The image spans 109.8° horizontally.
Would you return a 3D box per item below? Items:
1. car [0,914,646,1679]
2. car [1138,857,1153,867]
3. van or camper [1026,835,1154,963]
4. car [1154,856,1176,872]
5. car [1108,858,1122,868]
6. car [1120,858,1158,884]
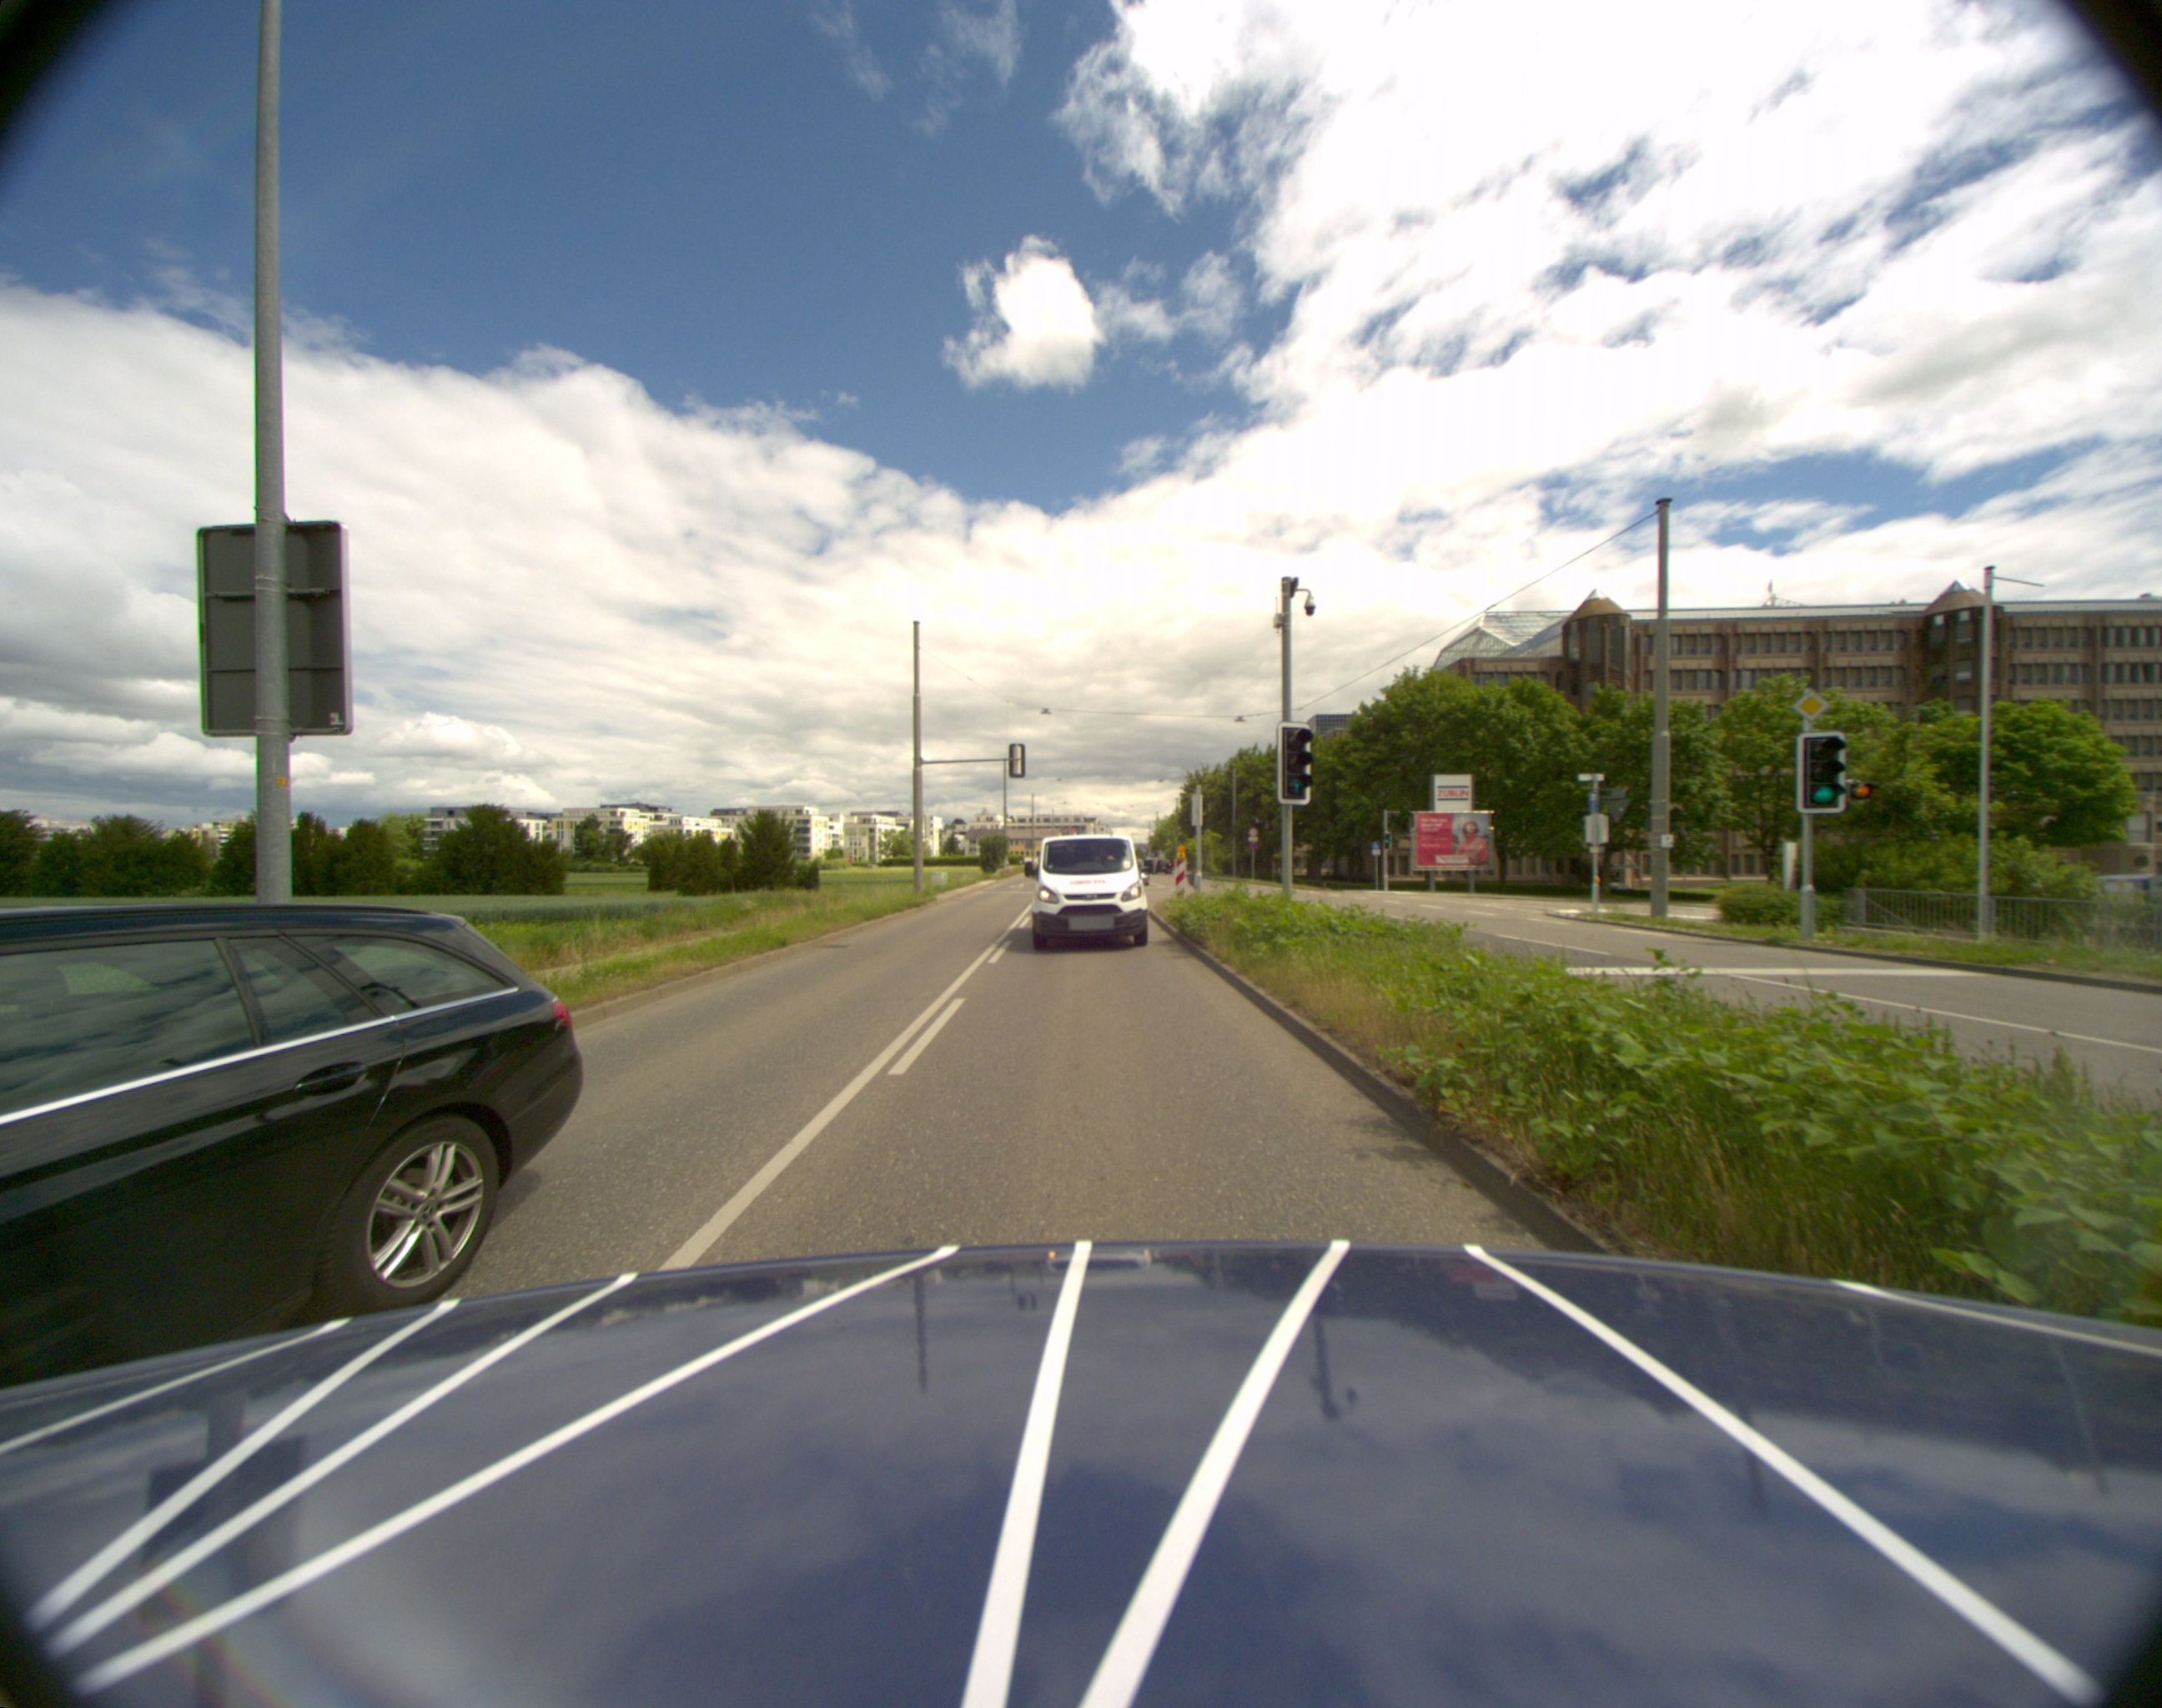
[{"bbox_3d":[-3.227,1.035,1.432,1.877,1.432,5.199,0,0,-1],"label":"car"},{"bbox_3d":[9.301,1.101,110.193,1.785,1.407,3.999,1,0,-1],"label":"car"},{"bbox_3d":[0.099,0.706,14.857,1.999,2.002,5.799,0,0,-1],"label":"van or camper"},{"bbox_3d":[9.354,1.115,84.939,1.998,1.692,4.761,0,0,2],"label":"car"},{"bbox_3d":[4.830,1.260,109.581,1.796,1.439,4.421,-1,0,0],"label":"car"},{"bbox_3d":[3.326,0.955,44.274,1.894,1.433,4.000,-1,0,0],"label":"car"}]
